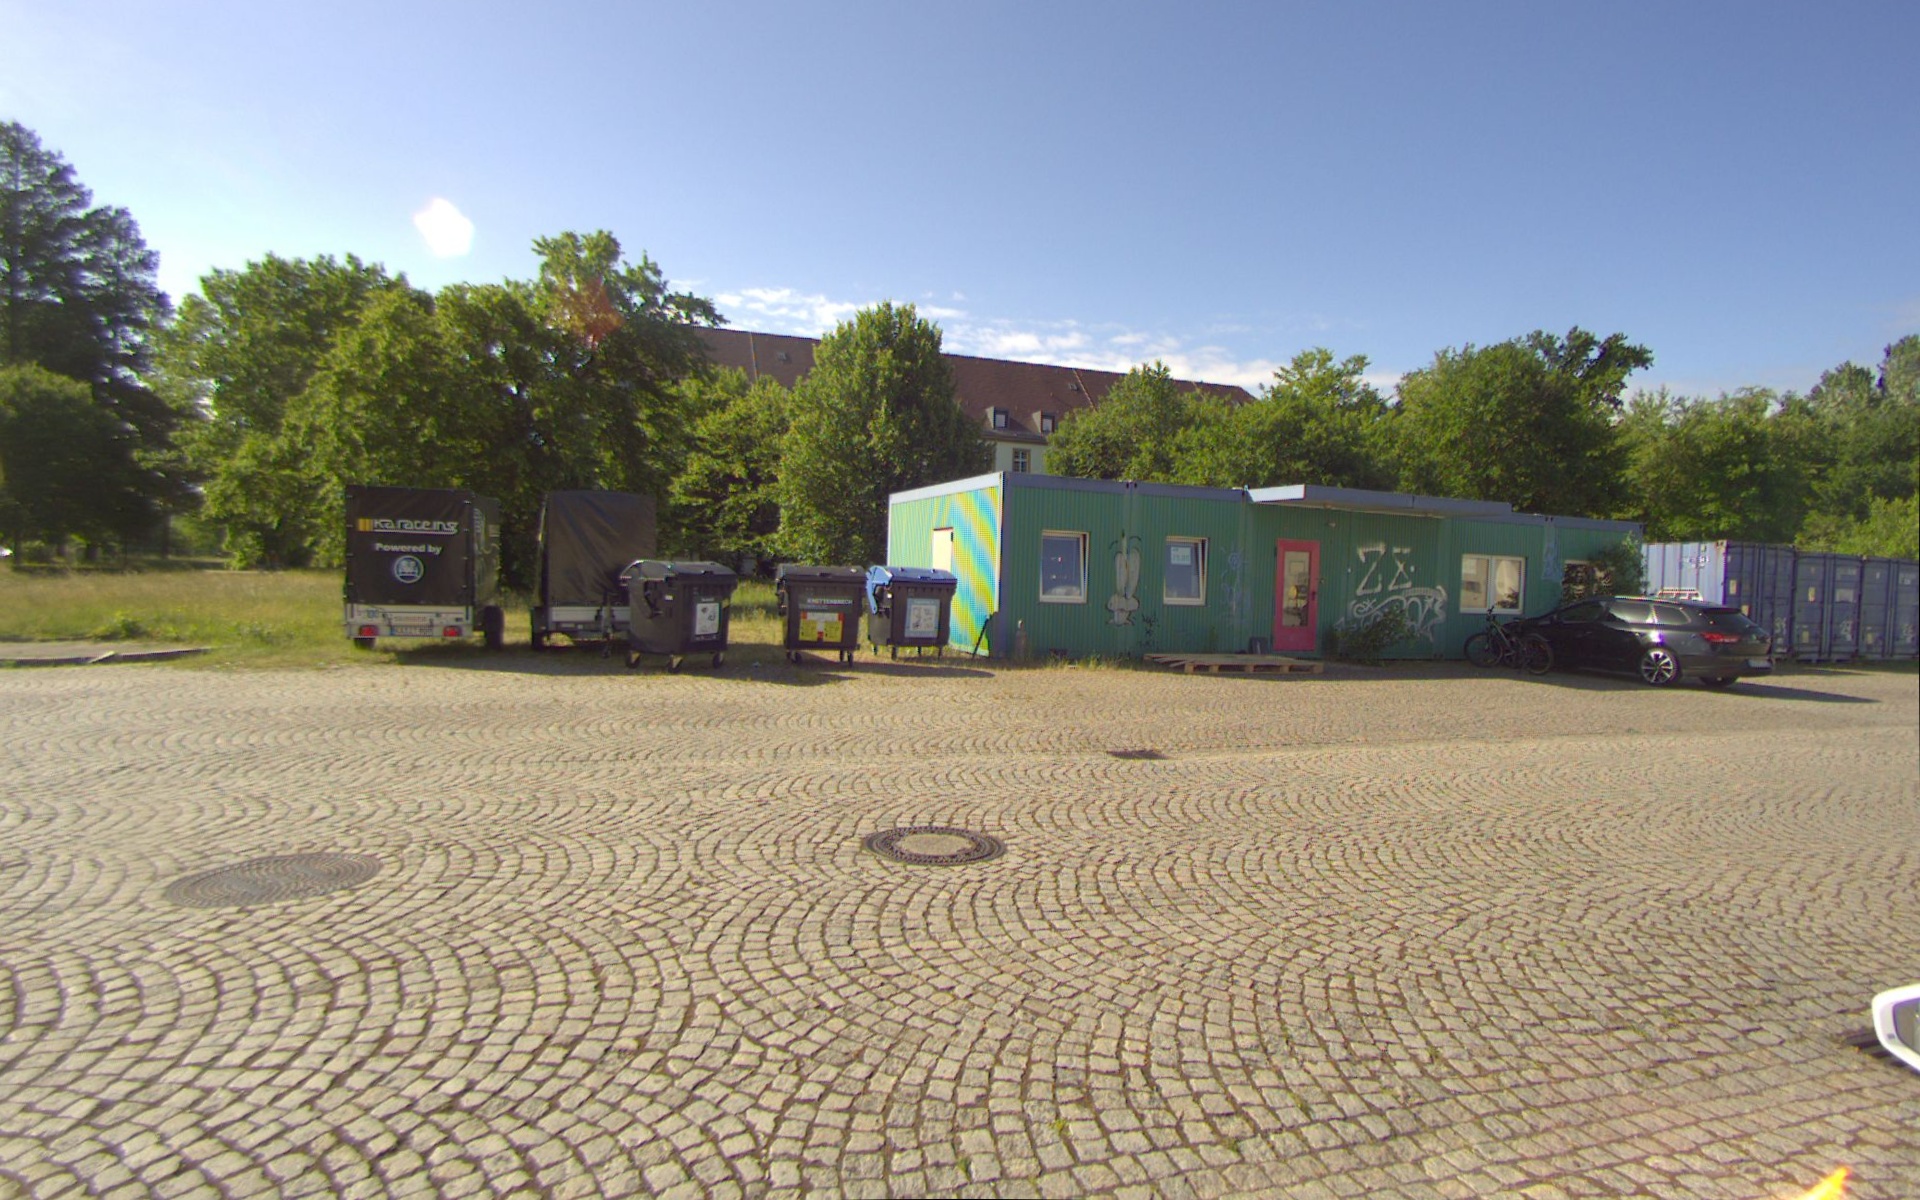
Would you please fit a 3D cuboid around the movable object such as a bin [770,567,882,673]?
[{"bbox_3d":[-1.998,0.289,14.853,1.419,1.477,1.016,2,2,-20],"label":"movable object such as a bin"}]

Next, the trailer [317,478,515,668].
[{"bbox_3d":[-8.053,-0.404,15.206,2.012,2.503,3.381,2,2,-18],"label":"trailer"}]

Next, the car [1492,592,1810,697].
[{"bbox_3d":[11.887,0.685,17.668,1.903,1.469,4.244,2,2,-21],"label":"car"}]

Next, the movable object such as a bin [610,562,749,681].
[{"bbox_3d":[-3.790,0.262,13.670,1.134,1.477,1.437,3,2,23],"label":"movable object such as a bin"}]

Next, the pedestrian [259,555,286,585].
[{"bbox_3d":[-46.091,-1.990,67.359,1.142,1.955,1.318,2,2,-18],"label":"pedestrian"}]

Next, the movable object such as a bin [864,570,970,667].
[{"bbox_3d":[-0.687,0.282,16.131,1.424,1.477,0.877,1,2,-30],"label":"movable object such as a bin"}]

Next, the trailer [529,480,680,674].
[{"bbox_3d":[-5.778,-0.384,16.011,1.924,2.602,4.625,1,2,-23],"label":"trailer"}]

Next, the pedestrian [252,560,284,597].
[{"bbox_3d":[-38.251,-1.189,55.508,1.142,1.955,1.122,2,2,-18],"label":"pedestrian"}]

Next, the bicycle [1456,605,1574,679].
[{"bbox_3d":[9.889,0.725,17.967,0.658,1.186,1.800,1,2,-21],"label":"bicycle"}]
